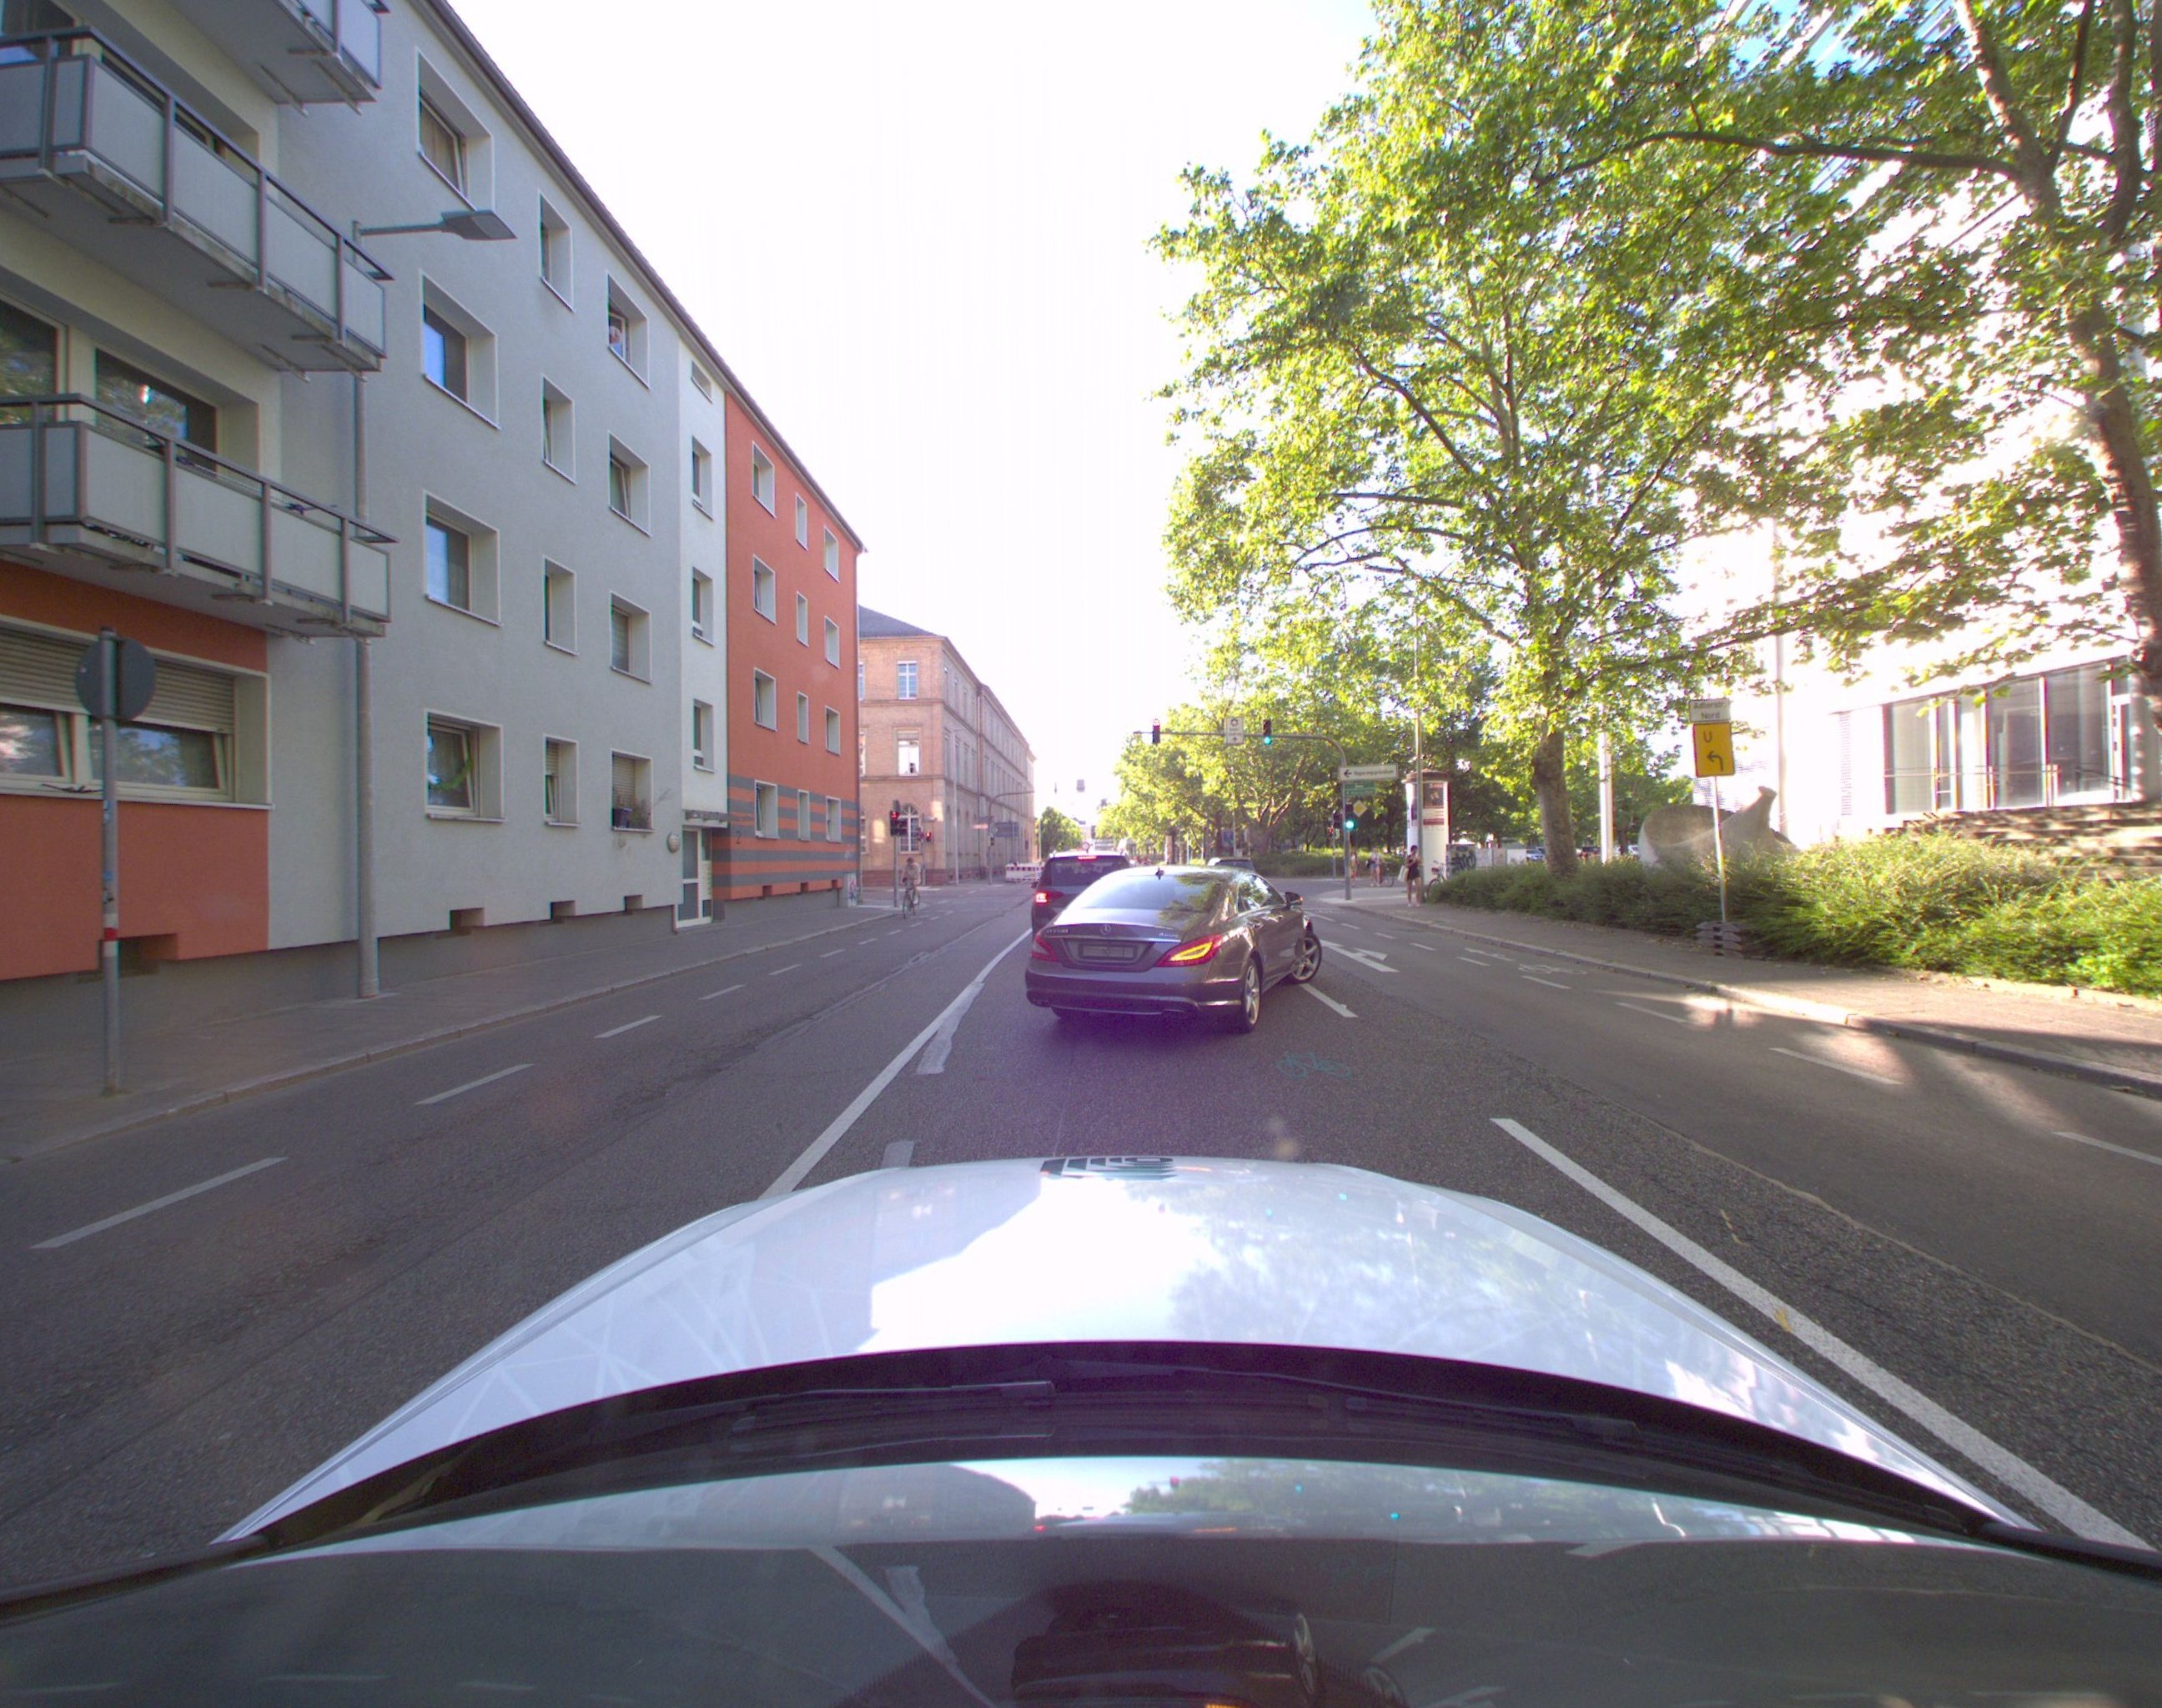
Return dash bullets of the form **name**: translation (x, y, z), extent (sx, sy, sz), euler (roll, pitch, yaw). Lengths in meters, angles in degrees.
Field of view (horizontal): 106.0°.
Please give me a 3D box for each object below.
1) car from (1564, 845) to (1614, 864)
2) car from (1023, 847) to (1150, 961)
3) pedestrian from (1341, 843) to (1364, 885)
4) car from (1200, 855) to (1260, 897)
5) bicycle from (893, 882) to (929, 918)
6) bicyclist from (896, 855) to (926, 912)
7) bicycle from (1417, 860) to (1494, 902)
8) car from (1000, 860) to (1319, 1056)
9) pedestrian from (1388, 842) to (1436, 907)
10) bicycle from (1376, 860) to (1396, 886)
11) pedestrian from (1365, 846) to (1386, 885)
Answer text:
- **car**: translation (39.740, 0.045, 63.816), extent (1.624, 1.483, 3.796), euler (0, -1, 1)
- **car**: translation (0.202, 0.741, 13.851), extent (1.801, 1.612, 4.003), euler (-1, -1, 3)
- **pedestrian**: translation (12.022, 0.456, 36.090), extent (0.728, 1.808, 0.911), euler (-2, -2, 6)
- **car**: translation (5.364, 0.774, 29.717), extent (1.682, 1.440, 3.905), euler (0, -1, 3)
- **bicycle**: translation (-4.713, 1.261, 22.724), extent (0.546, 0.891, 1.868), euler (0, -1, 2)
- **bicyclist**: translation (-4.750, 0.812, 22.747), extent (0.646, 1.558, 0.807), euler (0, -1, 1)
- **bicycle**: translation (10.802, 0.769, 23.492), extent (1.969, 1.190, 0.528), euler (0, -1, 0)
- **car**: translation (1.135, 0.783, 8.412), extent (1.826, 1.429, 4.543), euler (-1, -1, 25)
- **pedestrian**: translation (8.723, 0.544, 21.474), extent (0.796, 1.630, 0.906), euler (-2, -1, -2)
- **bicycle**: translation (13.384, 0.822, 35.781), extent (0.521, 1.100, 1.746), euler (-1, -1, 10)
- **pedestrian**: translation (12.976, 0.497, 35.895), extent (0.679, 1.697, 0.973), euler (-1, -1, 8)
